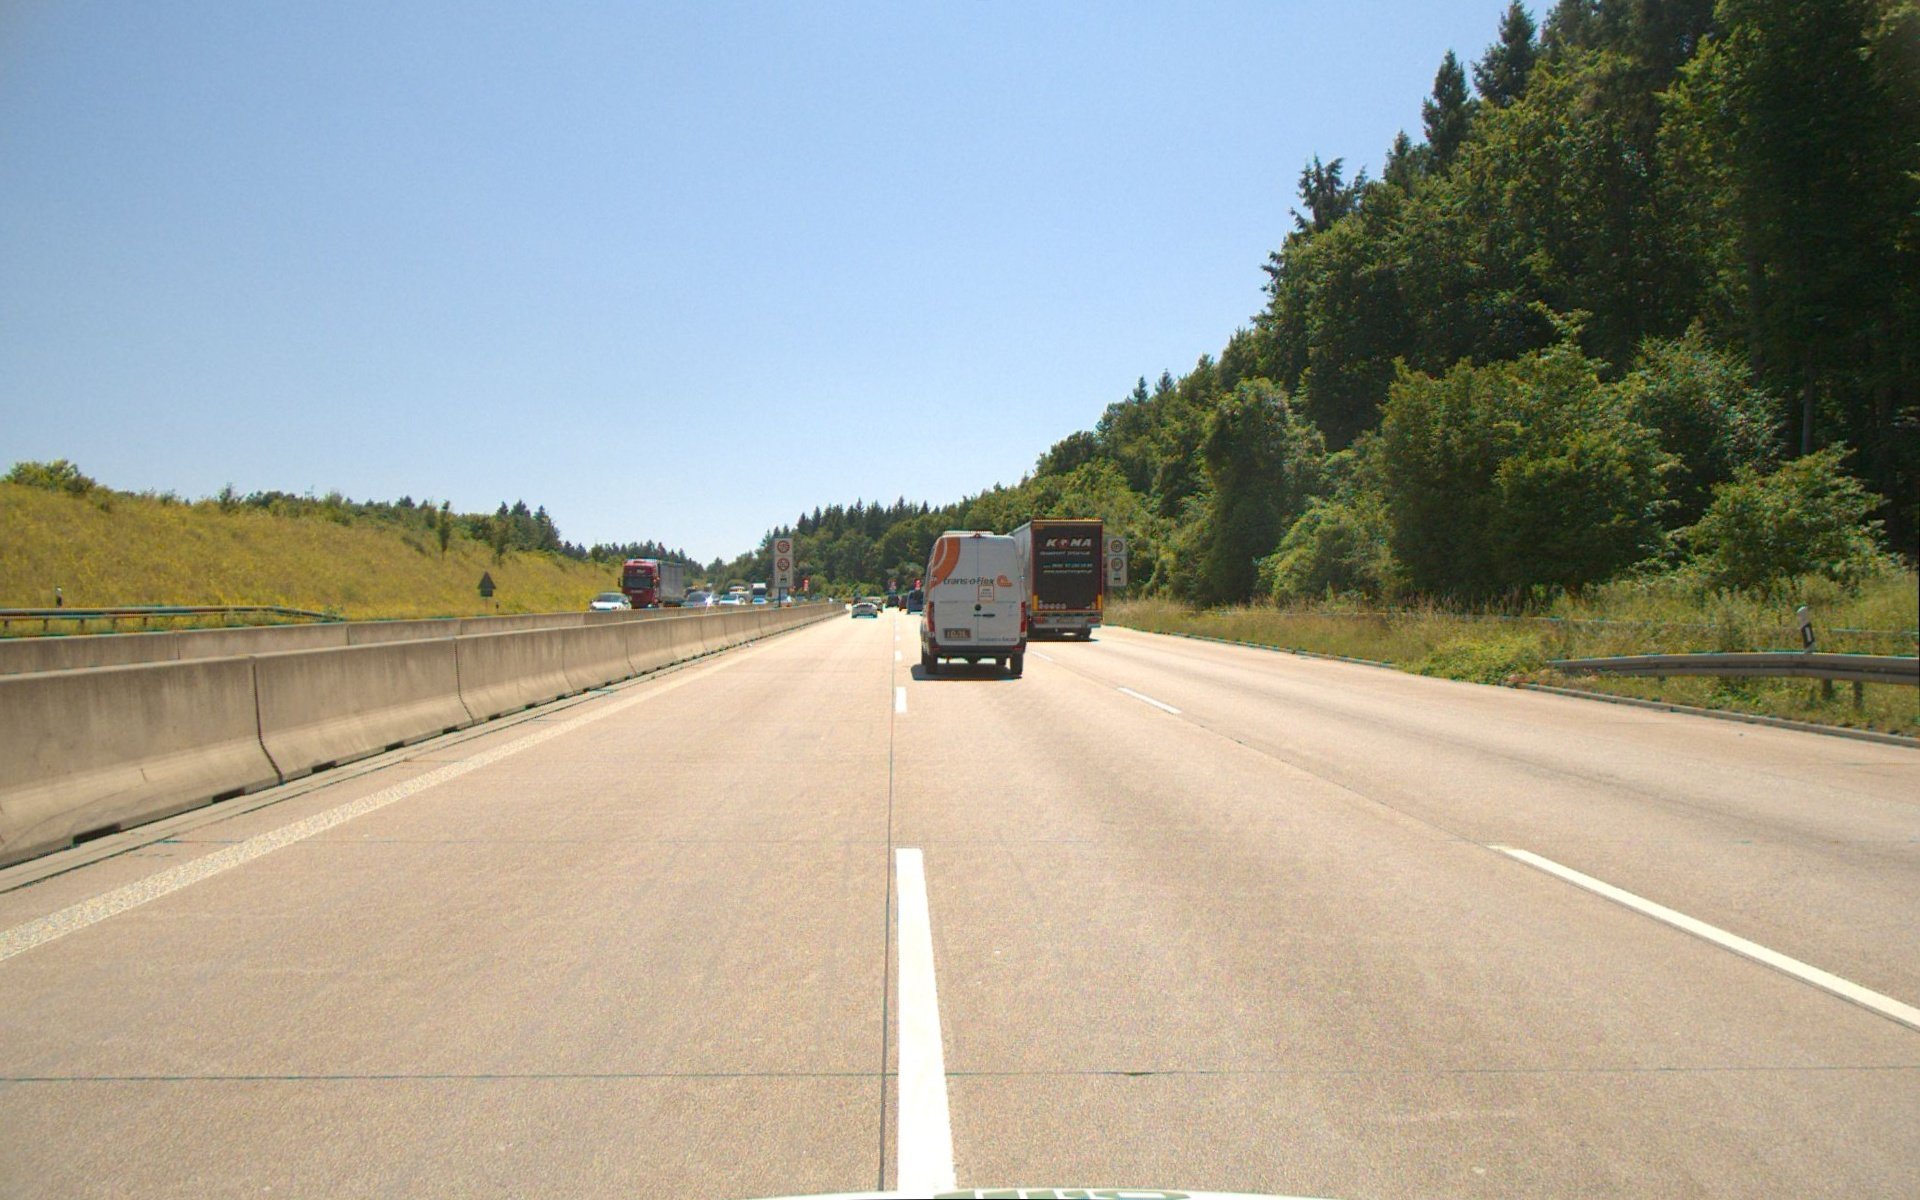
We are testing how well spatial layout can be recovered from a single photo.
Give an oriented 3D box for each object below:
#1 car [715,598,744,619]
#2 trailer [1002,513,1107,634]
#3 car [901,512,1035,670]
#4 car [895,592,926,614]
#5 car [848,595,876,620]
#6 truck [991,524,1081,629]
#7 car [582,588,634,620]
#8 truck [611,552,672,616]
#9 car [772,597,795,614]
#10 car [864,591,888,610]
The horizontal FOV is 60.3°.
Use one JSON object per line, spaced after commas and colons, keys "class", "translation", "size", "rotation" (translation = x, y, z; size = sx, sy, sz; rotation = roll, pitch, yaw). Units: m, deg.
{"class": "car", "translation": [-19.541, 0.735, 140.218], "size": [1.953, 1.722, 4.814], "rotation": [0, 0, -2]}
{"class": "trailer", "translation": [3.335, -0.903, 61.084], "size": [3.071, 4.087, 9.085], "rotation": [-1, 0, -2]}
{"class": "car", "translation": [0.067, -0.196, 33.550], "size": [2.183, 2.894, 5.448], "rotation": [-1, 1, -5]}
{"class": "car", "translation": [-4.124, 0.248, 136.325], "size": [1.957, 1.713, 3.990], "rotation": [1, -1, -10]}
{"class": "car", "translation": [-7.027, 0.531, 119.118], "size": [1.954, 1.713, 3.998], "rotation": [1, -1, -3]}
{"class": "truck", "translation": [3.107, -0.932, 70.927], "size": [3.095, 4.087, 10.605], "rotation": [-1, 0, -1]}
{"class": "car", "translation": [-18.096, 0.194, 85.288], "size": [1.953, 1.591, 3.998], "rotation": [1, 0, -2]}
{"class": "truck", "translation": [-23.268, -1.133, 121.205], "size": [3.319, 4.509, 6.797], "rotation": [1, -1, -2]}
{"class": "car", "translation": [-17.604, 0.533, 165.281], "size": [1.953, 1.722, 4.369], "rotation": [0, 0, -2]}
{"class": "car", "translation": [-7.886, 0.026, 154.665], "size": [1.955, 1.713, 3.994], "rotation": [1, -1, -6]}
